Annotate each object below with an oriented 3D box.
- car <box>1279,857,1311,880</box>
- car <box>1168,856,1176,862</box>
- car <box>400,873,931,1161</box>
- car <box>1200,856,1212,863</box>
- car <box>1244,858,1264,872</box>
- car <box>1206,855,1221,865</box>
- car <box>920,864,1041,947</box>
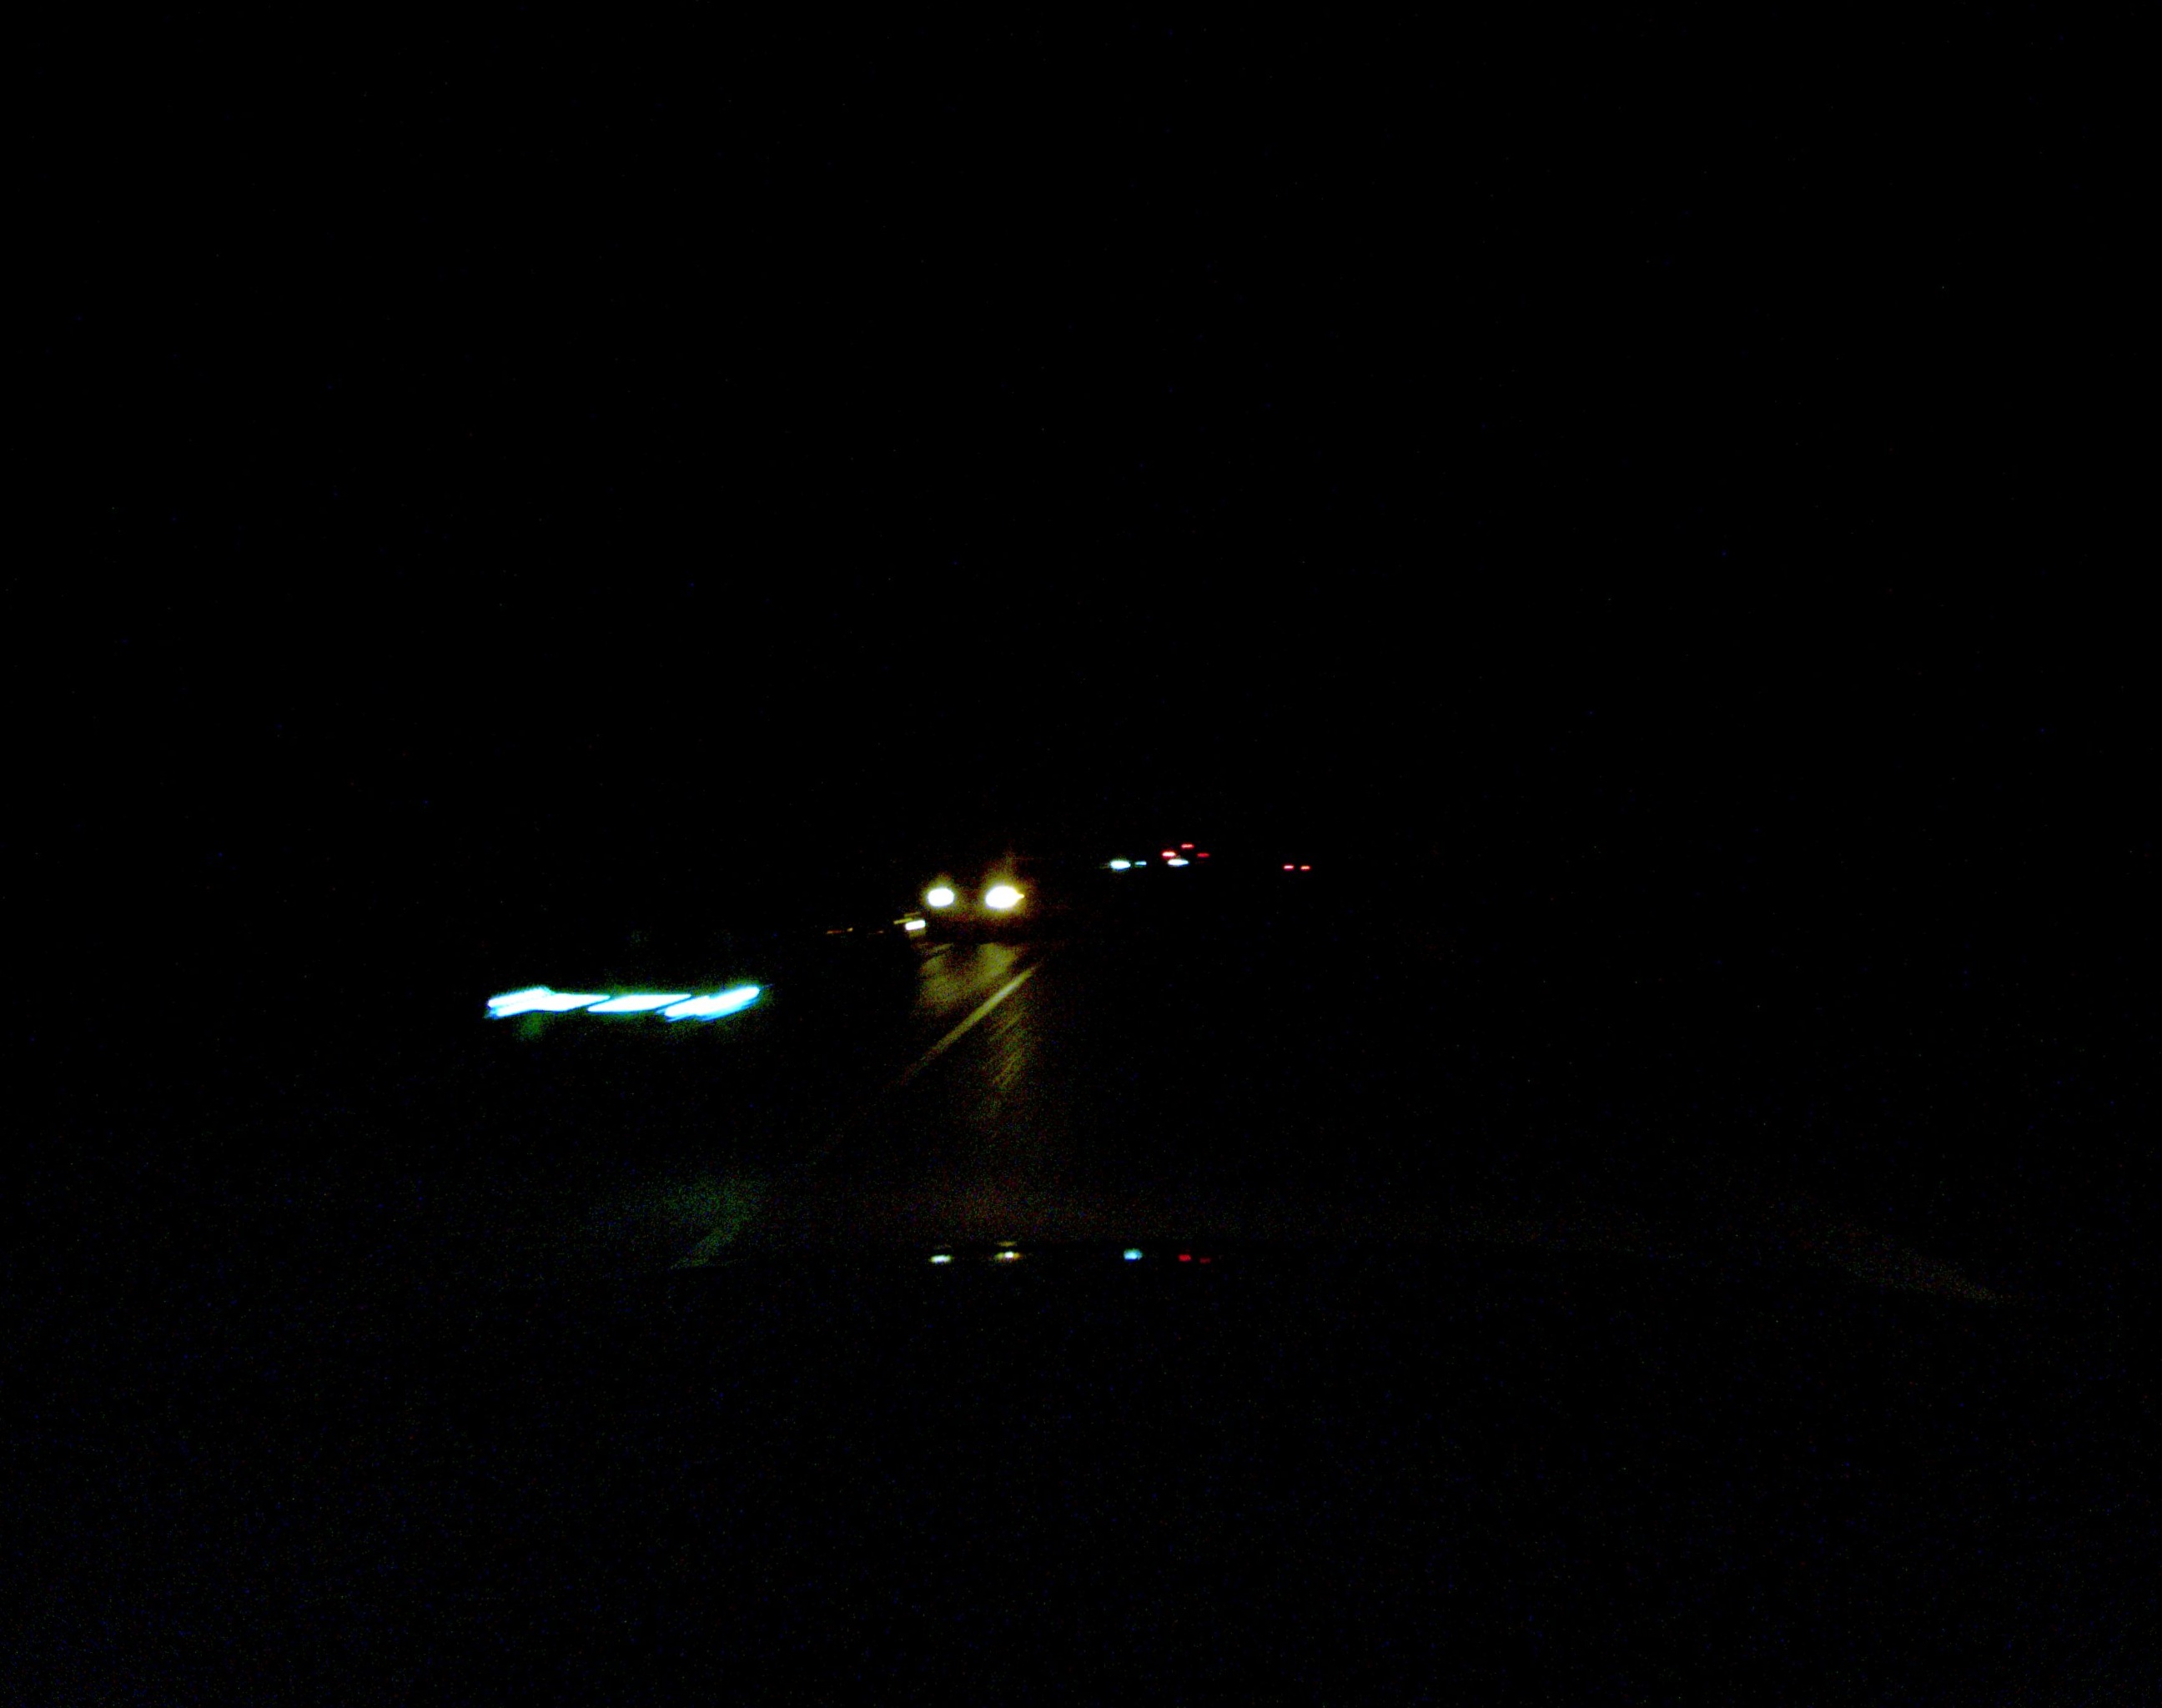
[{"bbox_3d":[15.462,1.002,55.075,1.548,1.511,3.517,3,0,6],"label":"car"},{"bbox_3d":[22.603,1.287,189.051,1.930,1.510,4.001,1,0,5],"label":"car"},{"bbox_3d":[-2.727,0.940,6.269,1.762,1.451,4.194,0,0,6],"label":"car"},{"bbox_3d":[27.268,1.132,165.758,2.126,1.544,4.699,1,0,2],"label":"car"},{"bbox_3d":[20.819,1.325,91.669,1.957,1.478,4.701,2,0,8],"label":"car"},{"bbox_3d":[22.392,0.999,128.550,2.126,1.621,4.700,1,0,6],"label":"car"},{"bbox_3d":[-1.914,0.950,15.461,1.656,1.442,3.491,0,0,6],"label":"car"}]
